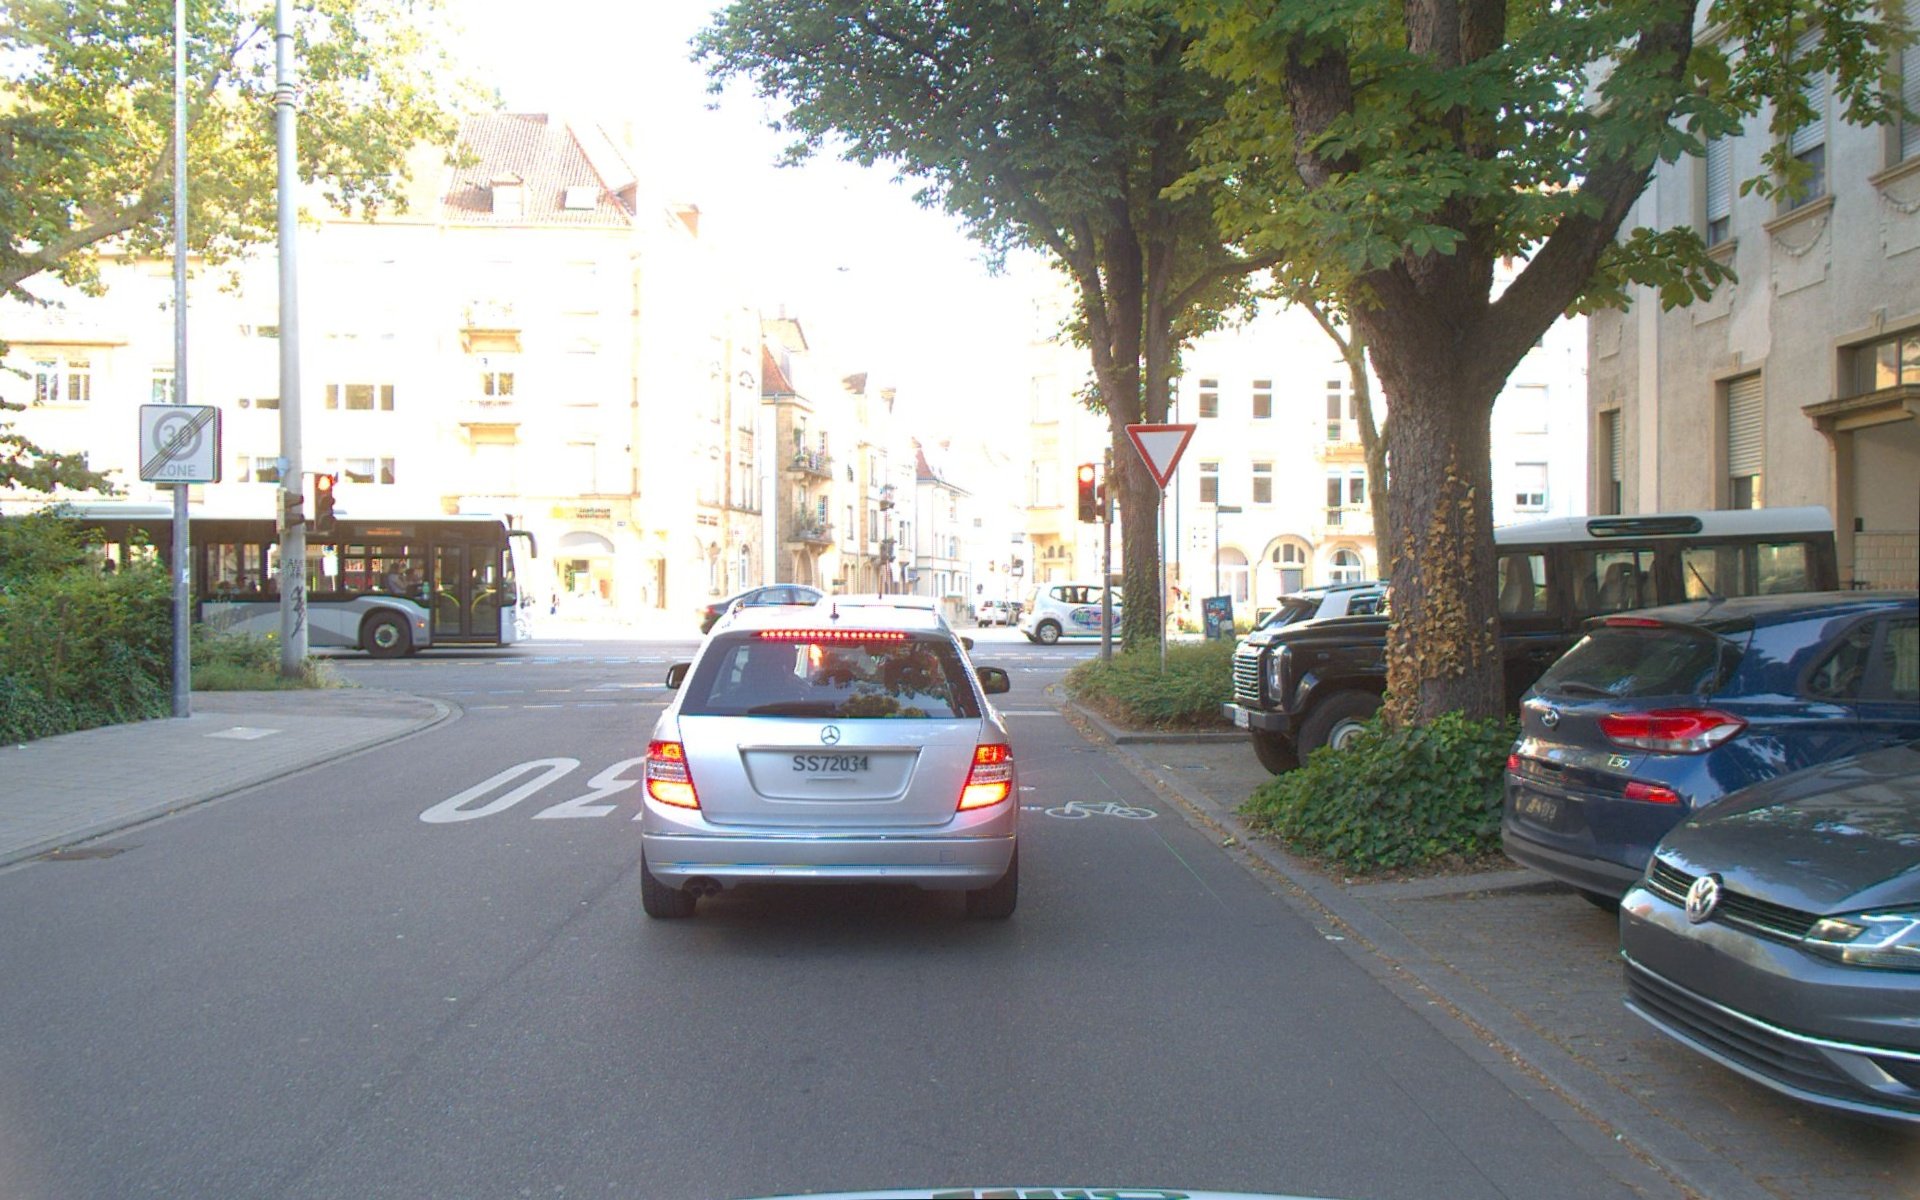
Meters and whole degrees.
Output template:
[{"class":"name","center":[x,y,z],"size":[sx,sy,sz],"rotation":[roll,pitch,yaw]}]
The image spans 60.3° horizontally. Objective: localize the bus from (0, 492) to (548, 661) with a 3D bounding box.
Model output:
[{"class":"bus","center":[-13.963,-0.515,34.274],"size":[10.259,3.257,2.905],"rotation":[0,1,-9]}]

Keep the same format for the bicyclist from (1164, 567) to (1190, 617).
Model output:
[{"class":"bicyclist","center":[8.258,-0.322,63.037],"size":[0.874,1.892,0.636],"rotation":[0,0,-6]}]

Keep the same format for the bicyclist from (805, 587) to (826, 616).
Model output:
[{"class":"bicyclist","center":[-6.597,0.053,75.666],"size":[0.754,1.312,0.753],"rotation":[1,1,10]}]

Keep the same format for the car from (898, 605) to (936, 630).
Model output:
[{"class":"car","center":[-2.680,1.101,104.737],"size":[1.796,1.427,4.003],"rotation":[0,1,7]}]

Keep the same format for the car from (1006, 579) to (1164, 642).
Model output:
[{"class":"car","center":[3.035,0.235,40.377],"size":[3.619,1.475,1.513],"rotation":[0,0,-9]}]

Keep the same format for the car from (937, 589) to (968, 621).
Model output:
[{"class":"car","center":[-0.507,0.365,119.662],"size":[1.749,2.242,4.003],"rotation":[0,1,7]}]

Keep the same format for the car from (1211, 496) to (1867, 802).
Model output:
[{"class":"car","center":[4.264,0.329,12.565],"size":[4.377,2.071,1.699],"rotation":[-1,0,-5]}]

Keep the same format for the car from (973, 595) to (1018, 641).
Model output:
[{"class":"car","center":[1.906,0.950,88.257],"size":[1.987,2.319,4.003],"rotation":[0,1,7]}]

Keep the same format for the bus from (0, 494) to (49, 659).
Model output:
[{"class":"bus","center":[-22.975,-0.440,32.791],"size":[8.024,3.257,2.905],"rotation":[0,1,-9]}]

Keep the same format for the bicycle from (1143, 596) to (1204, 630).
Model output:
[{"class":"bicycle","center":[8.135,0.499,63.028],"size":[2.213,1.268,0.636],"rotation":[0,0,-6]}]

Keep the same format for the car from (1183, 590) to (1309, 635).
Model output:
[{"class":"car","center":[7.787,0.330,45.144],"size":[3.162,1.202,1.317],"rotation":[0,0,-9]}]

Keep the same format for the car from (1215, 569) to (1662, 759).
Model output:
[{"class":"car","center":[4.394,0.556,15.503],"size":[3.650,1.597,1.707],"rotation":[-1,0,-5]}]

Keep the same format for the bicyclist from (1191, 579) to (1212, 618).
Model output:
[{"class":"bicyclist","center":[8.919,-0.067,61.157],"size":[0.631,1.451,0.636],"rotation":[0,0,-6]}]

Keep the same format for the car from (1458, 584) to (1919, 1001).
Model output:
[{"class":"car","center":[4.205,0.673,6.982],"size":[3.650,1.477,1.707],"rotation":[-1,0,-5]}]

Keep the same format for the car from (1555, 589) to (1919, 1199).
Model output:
[{"class":"car","center":[4.007,0.689,4.739],"size":[3.973,1.477,1.721],"rotation":[-1,0,-5]}]

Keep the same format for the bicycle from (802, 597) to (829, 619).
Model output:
[{"class":"bicycle","center":[-6.600,0.352,75.667],"size":[0.754,0.950,1.942],"rotation":[1,1,10]}]

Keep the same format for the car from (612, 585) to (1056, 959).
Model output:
[{"class":"car","center":[-0.599,0.674,8.843],"size":[1.741,1.477,4.545],"rotation":[1,0,-3]}]

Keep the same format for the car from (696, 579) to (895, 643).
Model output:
[{"class":"car","center":[-3.941,0.249,39.403],"size":[4.602,1.453,1.715],"rotation":[0,0,-10]}]

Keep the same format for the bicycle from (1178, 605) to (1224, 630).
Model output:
[{"class":"bicycle","center":[8.903,0.648,61.161],"size":[1.586,0.892,0.636],"rotation":[0,0,-6]}]

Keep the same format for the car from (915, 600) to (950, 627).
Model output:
[{"class":"car","center":[-1.834,0.871,110.945],"size":[1.796,1.692,4.003],"rotation":[0,1,7]}]

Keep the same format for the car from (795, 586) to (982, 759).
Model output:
[{"class":"car","center":[-0.712,0.611,16.360],"size":[1.587,1.472,4.342],"rotation":[1,0,-3]}]
